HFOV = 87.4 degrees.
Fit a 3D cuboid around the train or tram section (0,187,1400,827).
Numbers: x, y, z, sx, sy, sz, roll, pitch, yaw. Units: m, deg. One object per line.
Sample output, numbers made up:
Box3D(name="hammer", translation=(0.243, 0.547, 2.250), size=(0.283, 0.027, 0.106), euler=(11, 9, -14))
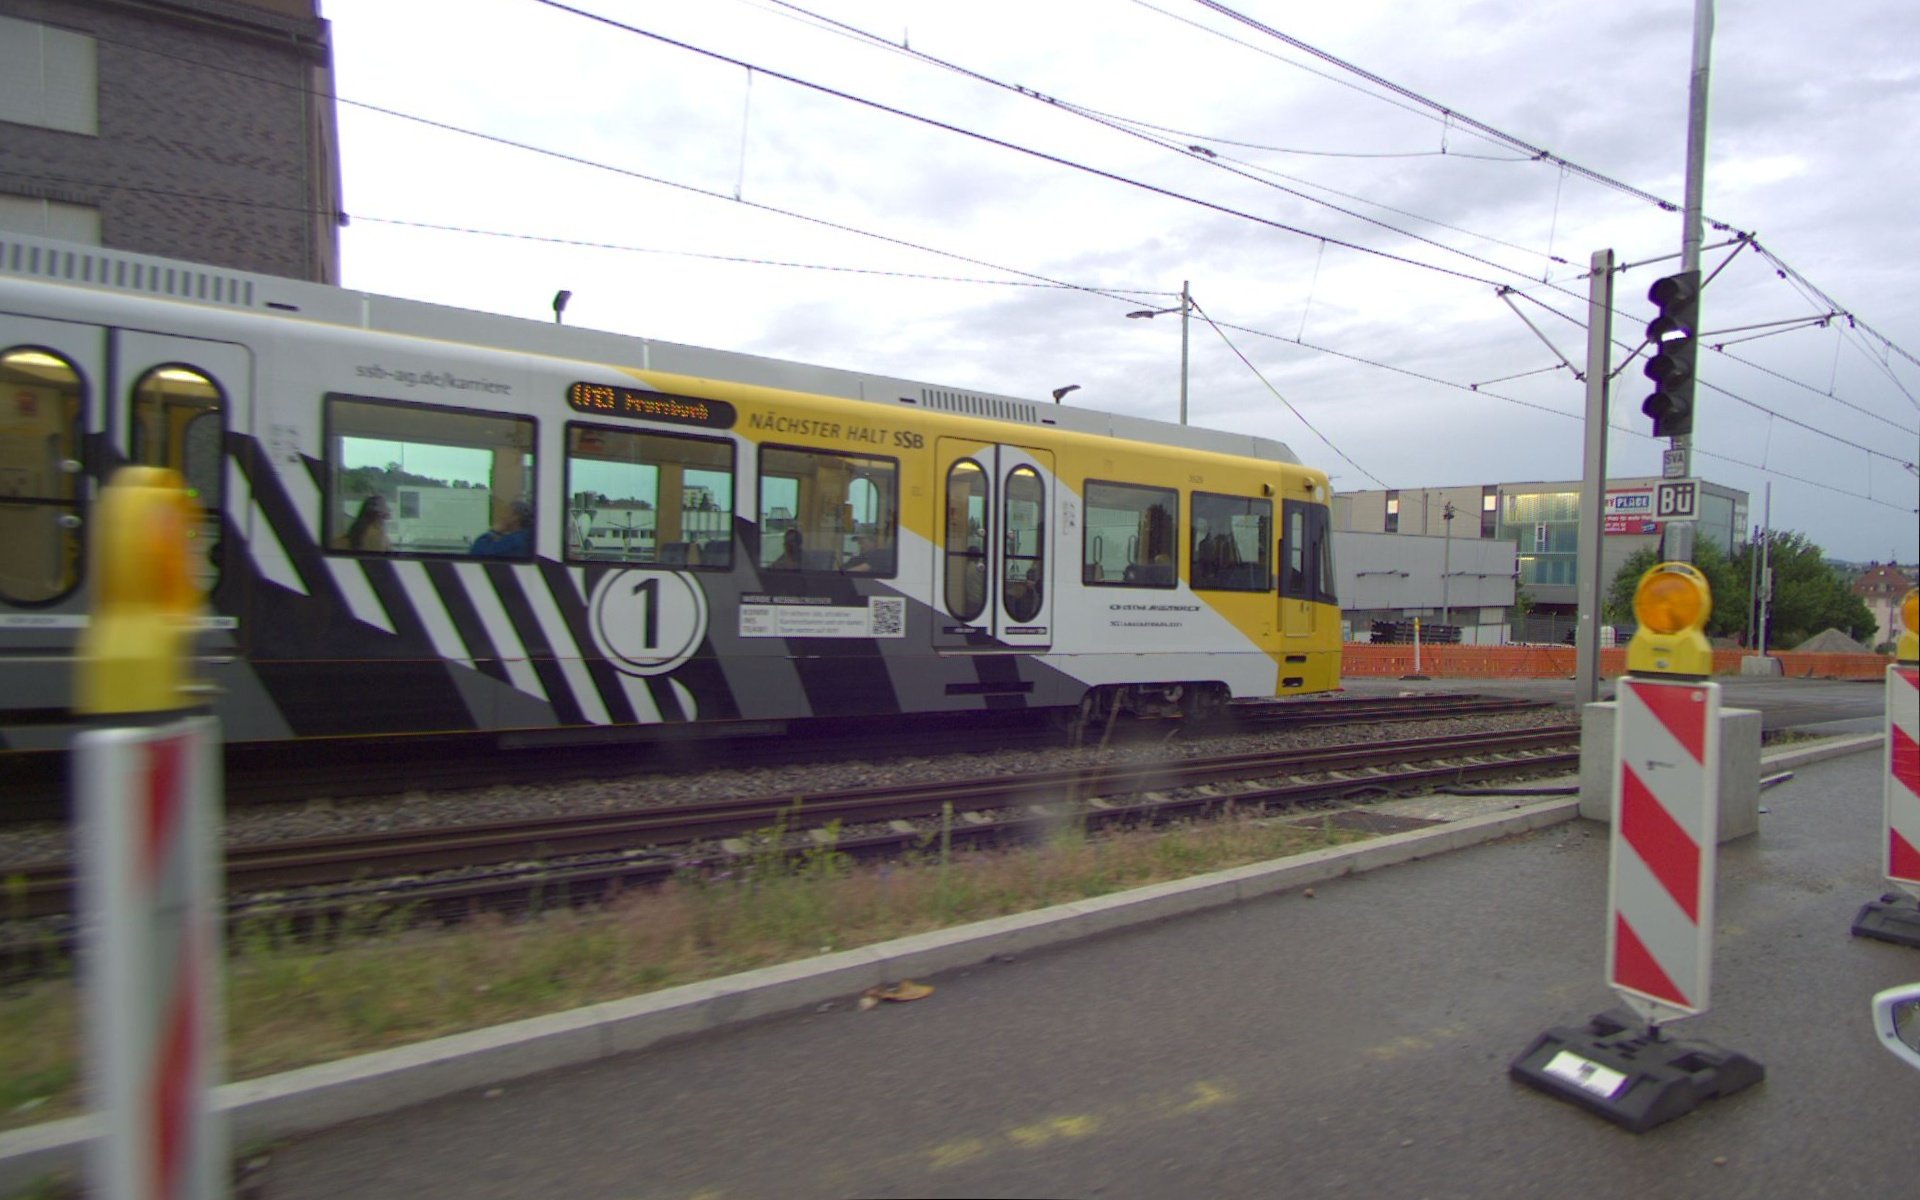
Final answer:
Box3D(name="train or tram section", translation=(-2.856, -0.508, 9.907), size=(19.079, 3.938, 2.938), euler=(2, 2, -33))
